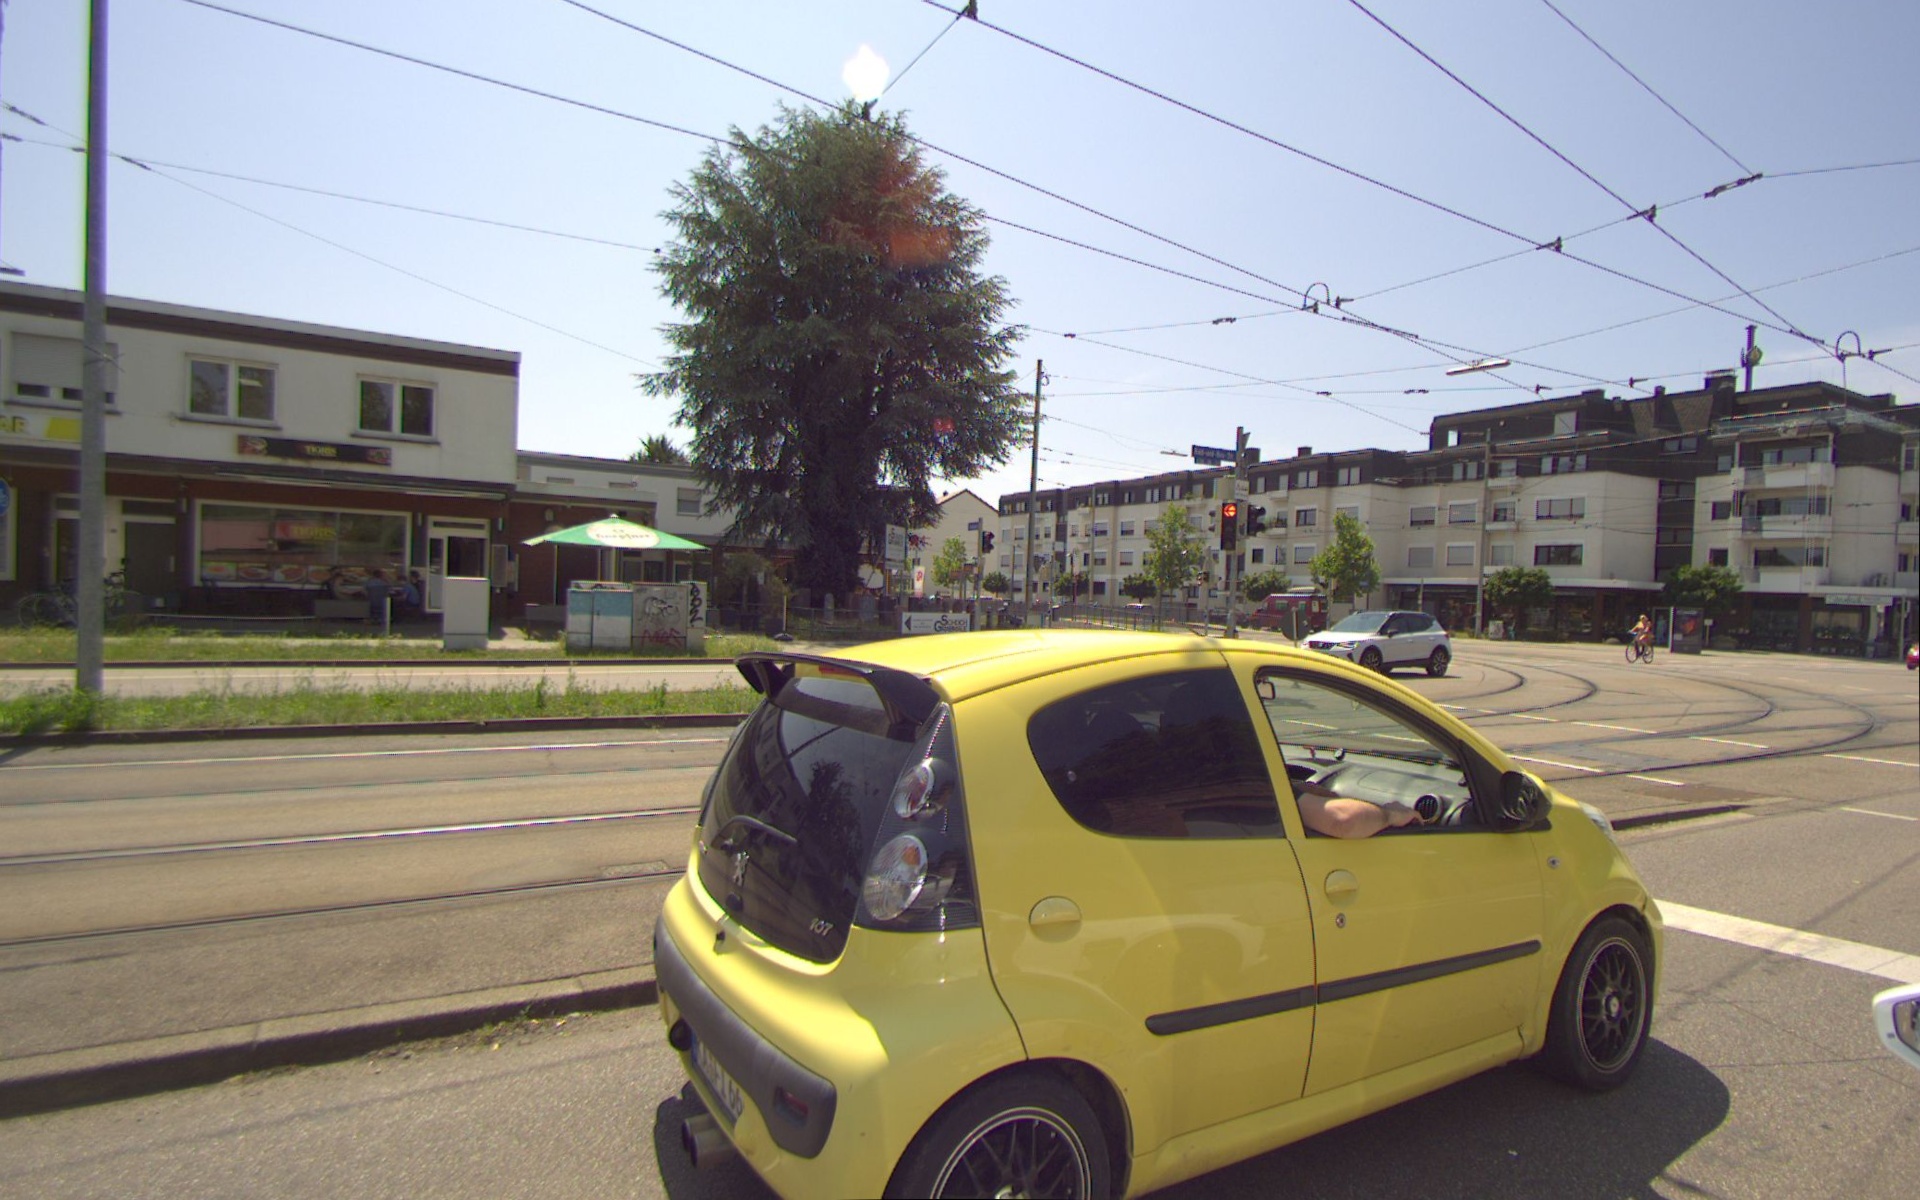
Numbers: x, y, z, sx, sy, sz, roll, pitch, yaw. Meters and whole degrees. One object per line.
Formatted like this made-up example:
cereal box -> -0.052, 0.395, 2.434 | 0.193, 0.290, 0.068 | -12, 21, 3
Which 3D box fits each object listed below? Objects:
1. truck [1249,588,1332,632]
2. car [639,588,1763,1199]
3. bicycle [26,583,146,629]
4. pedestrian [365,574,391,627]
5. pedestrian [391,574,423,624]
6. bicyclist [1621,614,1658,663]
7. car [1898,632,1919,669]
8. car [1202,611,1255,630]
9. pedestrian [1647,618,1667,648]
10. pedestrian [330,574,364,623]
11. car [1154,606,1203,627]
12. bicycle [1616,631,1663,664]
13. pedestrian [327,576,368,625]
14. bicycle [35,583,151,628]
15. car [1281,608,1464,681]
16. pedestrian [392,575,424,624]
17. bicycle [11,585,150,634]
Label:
truck -> 21.701, 0.610, 66.099 | 2.160, 2.734, 5.004 | 2, 0, -29
car -> 0.955, 0.783, 3.405 | 3.613, 1.440, 1.608 | 2, -2, -31
bicycle -> -17.935, 0.131, 20.649 | 1.766, 0.859, 0.525 | 2, 3, -30
pedestrian -> -14.009, 0.003, 24.183 | 0.485, 1.255, 0.572 | 2, 0, -30
pedestrian -> -13.774, -0.024, 25.013 | 0.666, 1.215, 0.515 | 2, 0, -30
bicyclist -> 25.424, 1.427, 37.605 | 1.124, 1.789, 0.691 | 1, 1, -31
car -> 41.555, 2.180, 42.468 | 3.781, 1.503, 1.617 | 2, 0, -28
car -> 19.022, 1.435, 71.242 | 1.571, 1.235, 3.554 | 2, 0, -28
pedestrian -> 41.244, 1.930, 59.448 | 0.799, 1.719, 0.695 | 2, 1, -34
pedestrian -> -15.269, -0.042, 25.017 | 0.666, 1.179, 0.515 | 2, 0, -30
car -> 16.258, 1.231, 74.915 | 1.571, 1.452, 3.554 | 2, 0, -28
bicycle -> 25.450, 1.756, 37.639 | 1.909, 1.164, 0.691 | 1, 1, -31
pedestrian -> -14.871, 0.014, 24.413 | 0.801, 1.142, 0.562 | 2, 0, -30
bicycle -> -18.204, 0.130, 21.139 | 1.766, 0.859, 0.525 | 2, 3, -30
car -> 9.977, 1.068, 24.255 | 4.090, 1.573, 1.984 | 2, 0, -30
pedestrian -> -14.060, -0.021, 25.580 | 0.666, 1.225, 0.515 | 2, 0, -30
bicycle -> -17.186, 0.186, 19.685 | 1.936, 0.859, 0.599 | 2, 3, -30
